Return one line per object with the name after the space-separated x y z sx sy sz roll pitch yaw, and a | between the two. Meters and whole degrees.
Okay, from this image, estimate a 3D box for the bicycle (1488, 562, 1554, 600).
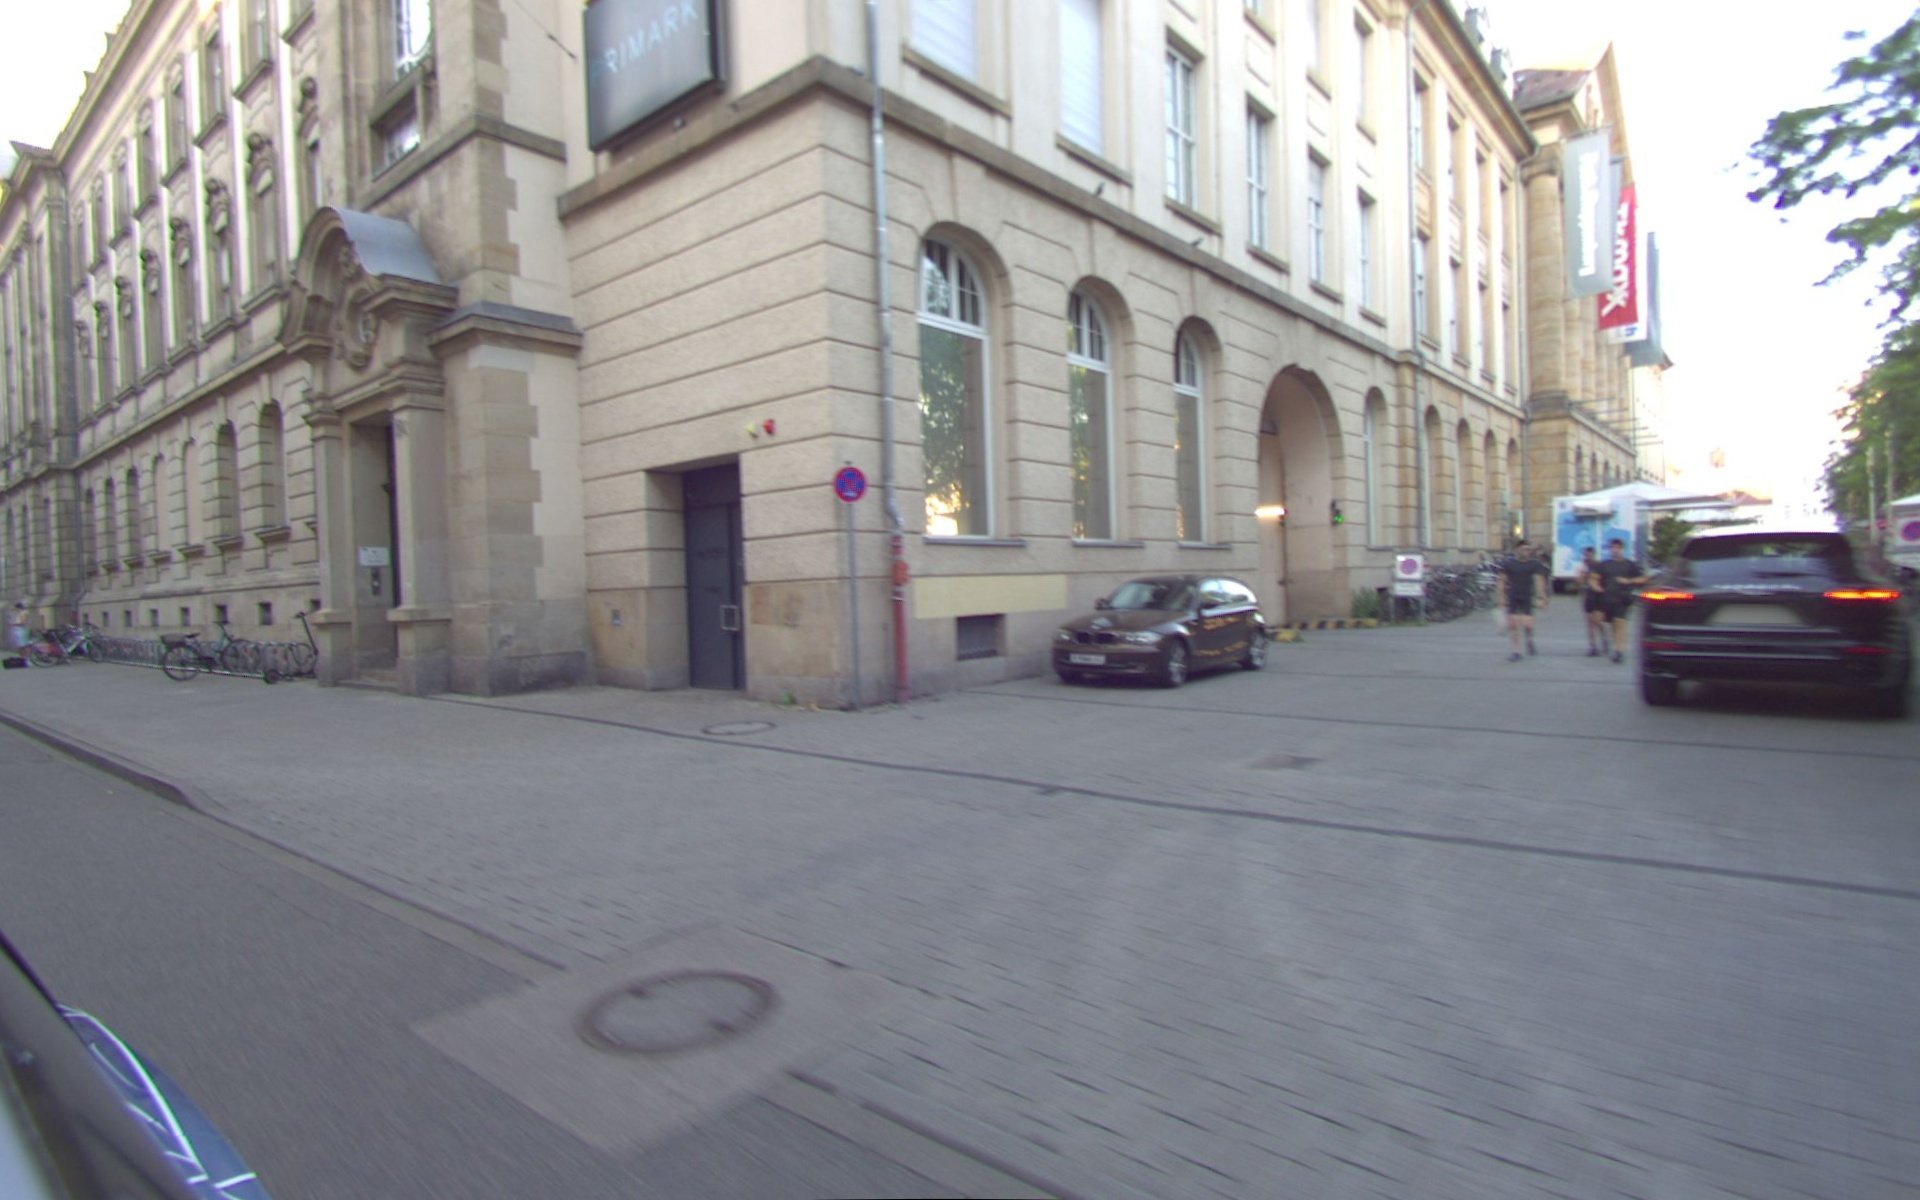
17.768 -0.610 32.074 1.792 1.116 0.495 -2 1 29 | bicycle

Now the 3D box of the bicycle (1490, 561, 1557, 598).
18.263 -0.645 32.821 1.797 1.116 0.494 -2 1 37 | bicycle

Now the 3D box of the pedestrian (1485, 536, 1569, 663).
8.434 0.004 15.047 0.872 1.815 0.776 -2 -1 43 | pedestrian

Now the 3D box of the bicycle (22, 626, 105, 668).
-27.425 1.424 30.987 0.499 1.116 1.779 -1 2 34 | bicycle

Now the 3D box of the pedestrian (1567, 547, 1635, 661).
9.665 0.064 15.256 0.718 1.669 0.629 -2 -1 43 | pedestrian

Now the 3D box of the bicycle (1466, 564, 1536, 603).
16.376 -0.490 30.639 1.796 1.116 0.494 -2 1 36 | bicycle

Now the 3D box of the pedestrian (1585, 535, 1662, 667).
9.433 0.022 14.384 0.770 1.815 0.618 -2 -1 43 | pedestrian

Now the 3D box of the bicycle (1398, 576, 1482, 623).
12.011 0.010 25.374 1.800 1.116 0.493 -2 1 44 | bicycle

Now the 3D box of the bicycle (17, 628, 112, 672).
-25.364 1.402 28.693 0.619 1.069 1.919 -1 2 38 | bicycle

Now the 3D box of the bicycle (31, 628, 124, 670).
-25.874 1.410 29.703 0.618 1.069 1.921 -1 2 35 | bicycle

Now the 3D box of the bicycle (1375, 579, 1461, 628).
11.040 0.090 24.434 1.800 1.116 0.493 -2 1 44 | bicycle

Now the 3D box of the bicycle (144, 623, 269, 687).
-15.328 1.095 20.658 0.616 1.069 1.927 -2 3 26 | bicycle

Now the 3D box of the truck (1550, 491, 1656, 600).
18.720 -1.592 29.376 1.999 2.900 3.947 -2 2 41 | truck

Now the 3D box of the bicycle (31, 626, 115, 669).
-26.486 1.399 30.242 0.499 1.116 1.779 -1 2 35 | bicycle

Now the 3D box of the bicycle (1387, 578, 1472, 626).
11.542 0.050 24.924 1.800 1.116 0.493 -2 1 44 | bicycle

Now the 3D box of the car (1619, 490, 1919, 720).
8.134 0.037 9.969 2.066 1.773 4.175 -2 -1 42 | car

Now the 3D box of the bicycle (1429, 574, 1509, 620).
13.233 -0.068 26.350 1.791 1.116 0.496 -2 1 27 | bicycle

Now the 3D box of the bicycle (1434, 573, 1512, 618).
13.622 -0.110 26.911 1.791 1.116 0.496 -2 1 27 | bicycle

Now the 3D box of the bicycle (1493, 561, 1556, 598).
18.700 -0.676 33.549 1.793 1.116 0.495 -2 1 30 | bicycle

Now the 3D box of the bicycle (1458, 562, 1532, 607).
15.072 -0.419 28.565 0.492 1.215 1.805 -3 1 -31 | bicycle

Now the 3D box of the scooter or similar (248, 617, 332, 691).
-12.216 0.968 18.477 0.495 1.242 1.126 -2 1 28 | scooter or similar

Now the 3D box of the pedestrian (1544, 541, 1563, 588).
21.571 -1.295 36.779 0.476 1.697 0.535 -2 0 36 | pedestrian

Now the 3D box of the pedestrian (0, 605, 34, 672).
-27.206 1.115 29.126 0.753 1.865 0.583 -2 1 35 | pedestrian

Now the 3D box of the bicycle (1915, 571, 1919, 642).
14.811 0.118 14.983 0.498 1.116 1.783 -2 1 28 | bicycle

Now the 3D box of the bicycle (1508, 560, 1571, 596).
19.381 -0.727 33.883 1.793 1.116 0.495 -2 1 30 | bicycle

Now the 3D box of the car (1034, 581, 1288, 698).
2.899 0.468 13.998 1.749 1.381 3.965 -2 -1 39 | car

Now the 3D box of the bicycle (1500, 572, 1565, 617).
14.785 -0.155 26.186 0.493 1.116 1.802 -3 1 -4 | bicycle

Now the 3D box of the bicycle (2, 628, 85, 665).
-30.062 1.512 33.234 0.619 1.069 1.918 -1 2 39 | bicycle

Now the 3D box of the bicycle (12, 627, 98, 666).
-29.043 1.481 32.507 0.618 1.069 1.921 -1 2 34 | bicycle

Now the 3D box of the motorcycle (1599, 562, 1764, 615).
16.431 -0.237 23.123 1.035 1.081 2.882 -1 -1 -40 | motorcycle
